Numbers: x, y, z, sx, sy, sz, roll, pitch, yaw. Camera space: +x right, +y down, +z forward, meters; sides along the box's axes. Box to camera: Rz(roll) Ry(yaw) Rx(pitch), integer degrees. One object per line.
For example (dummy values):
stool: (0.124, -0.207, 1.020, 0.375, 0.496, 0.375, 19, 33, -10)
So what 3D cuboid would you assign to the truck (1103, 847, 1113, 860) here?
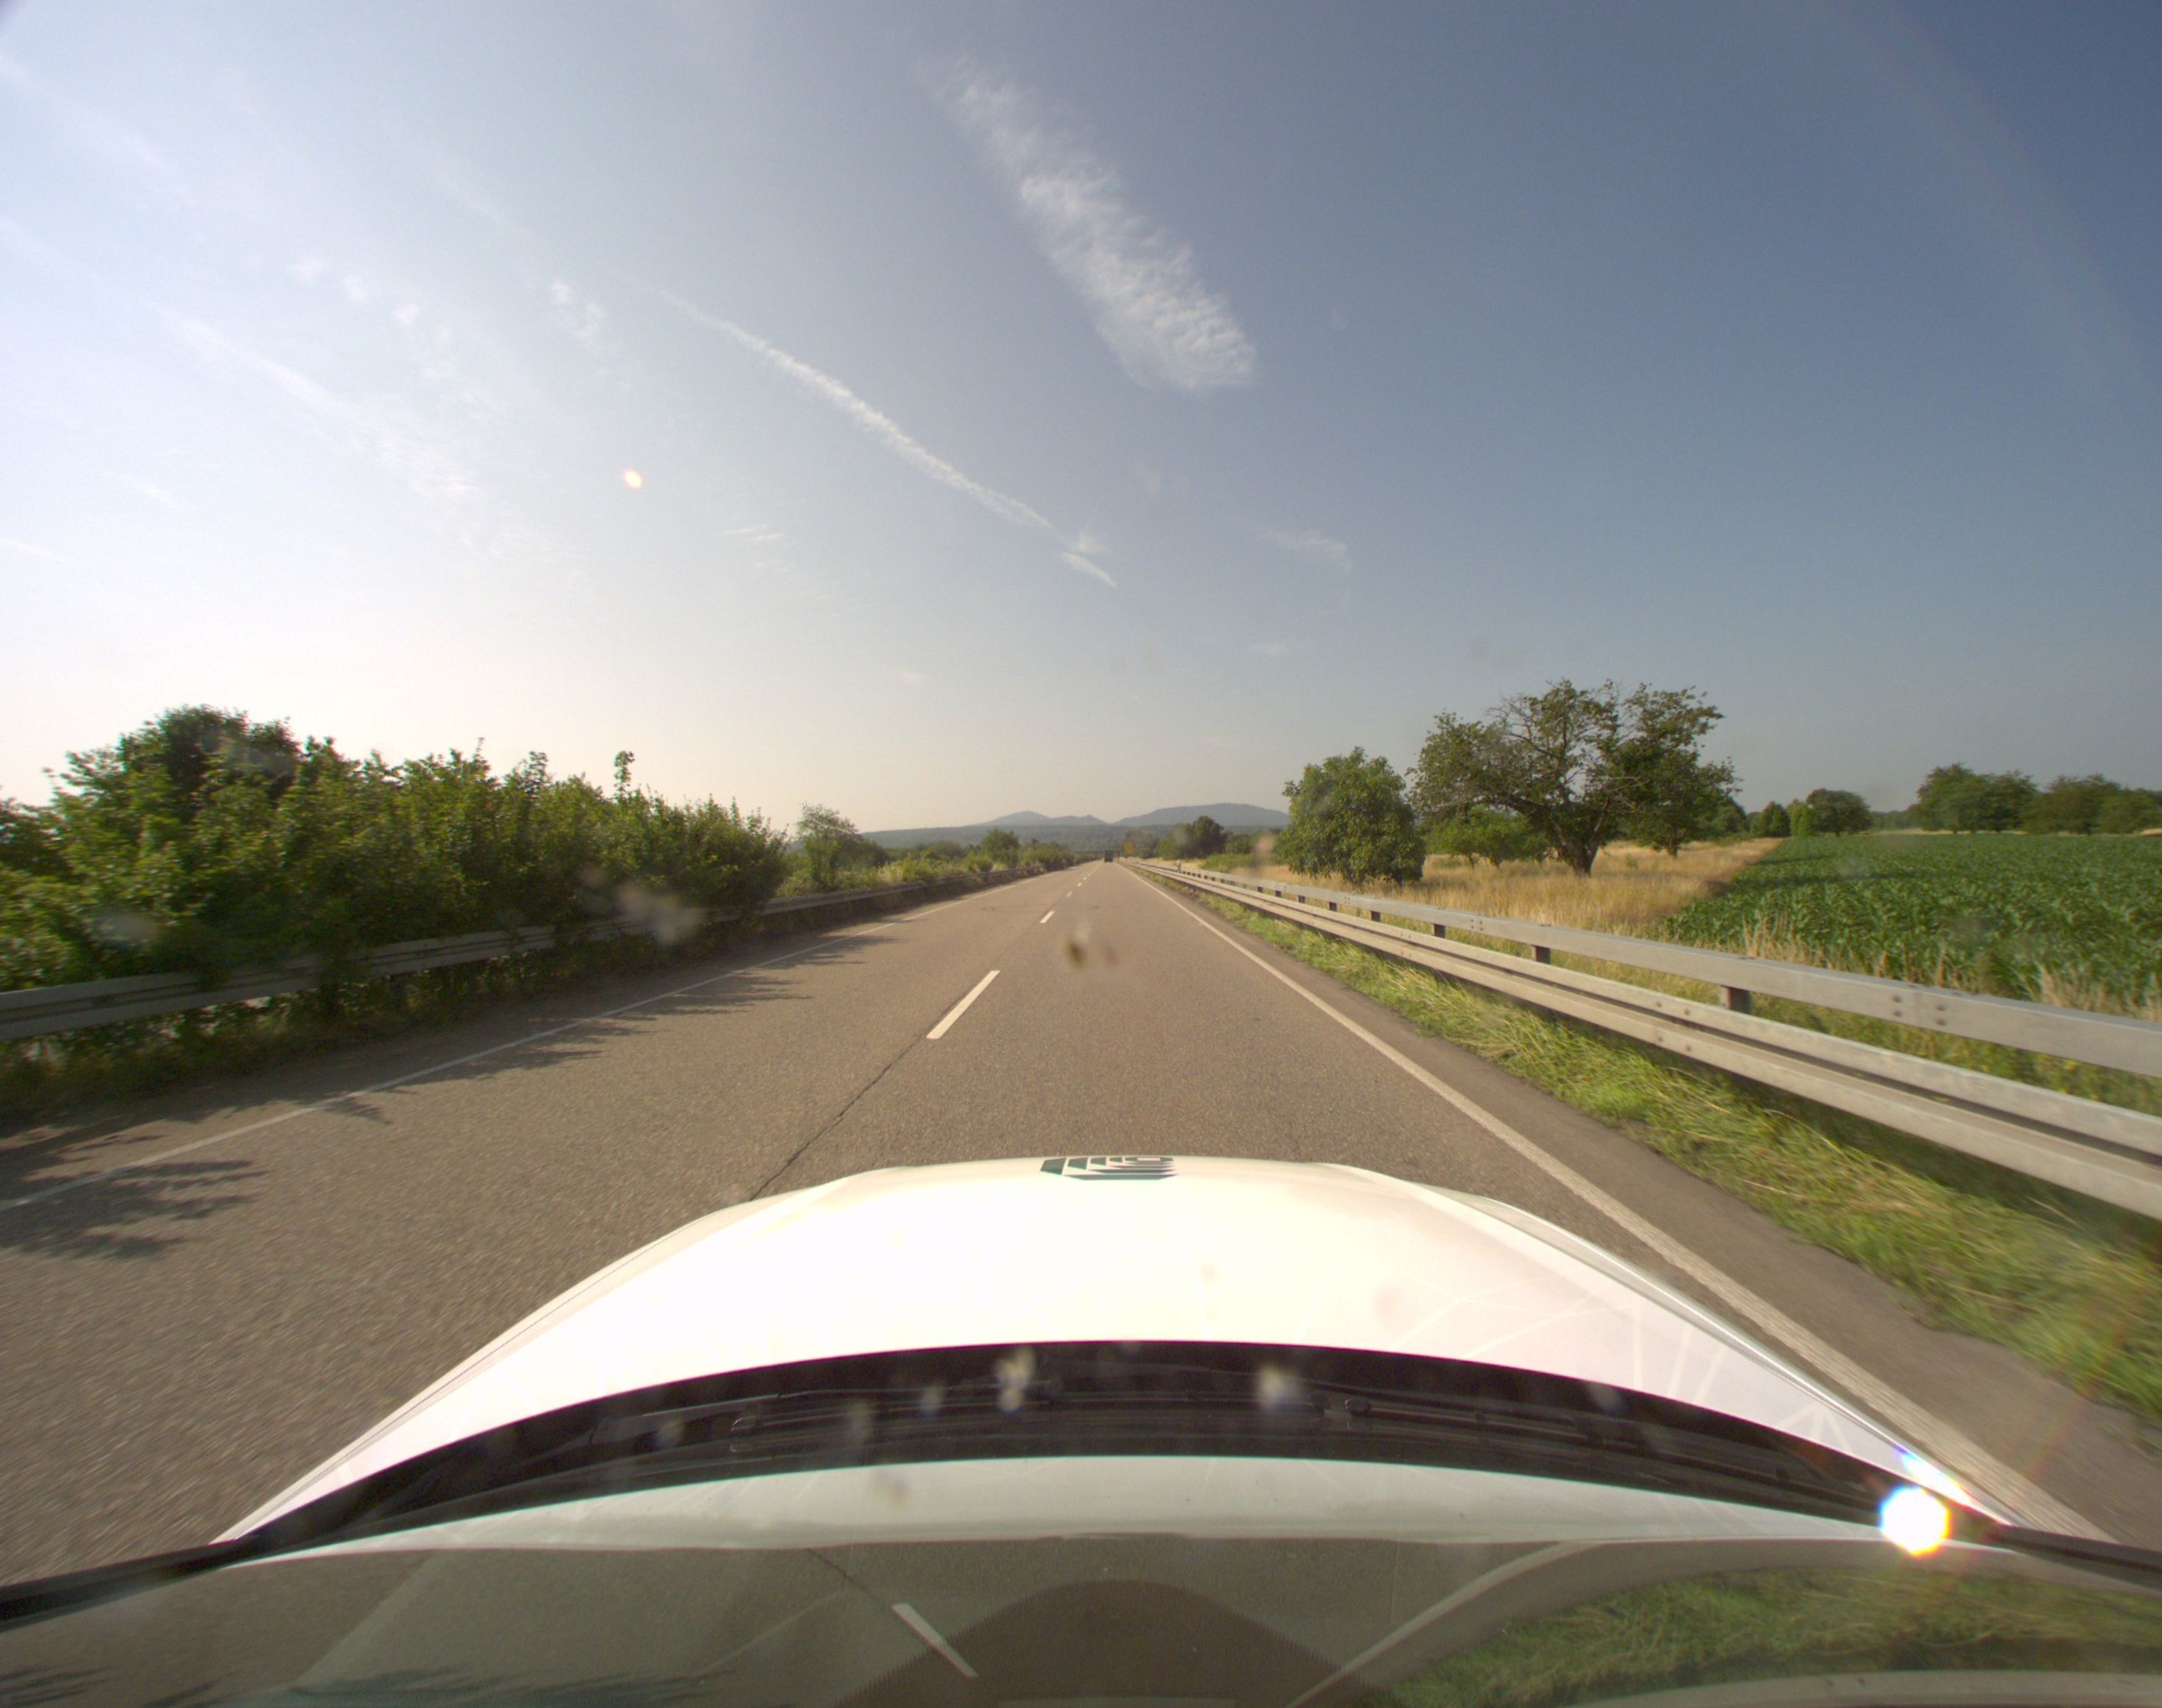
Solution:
truck: (7.987, -0.193, 239.720, 2.711, 3.965, 10.421, 0, 1, 2)
